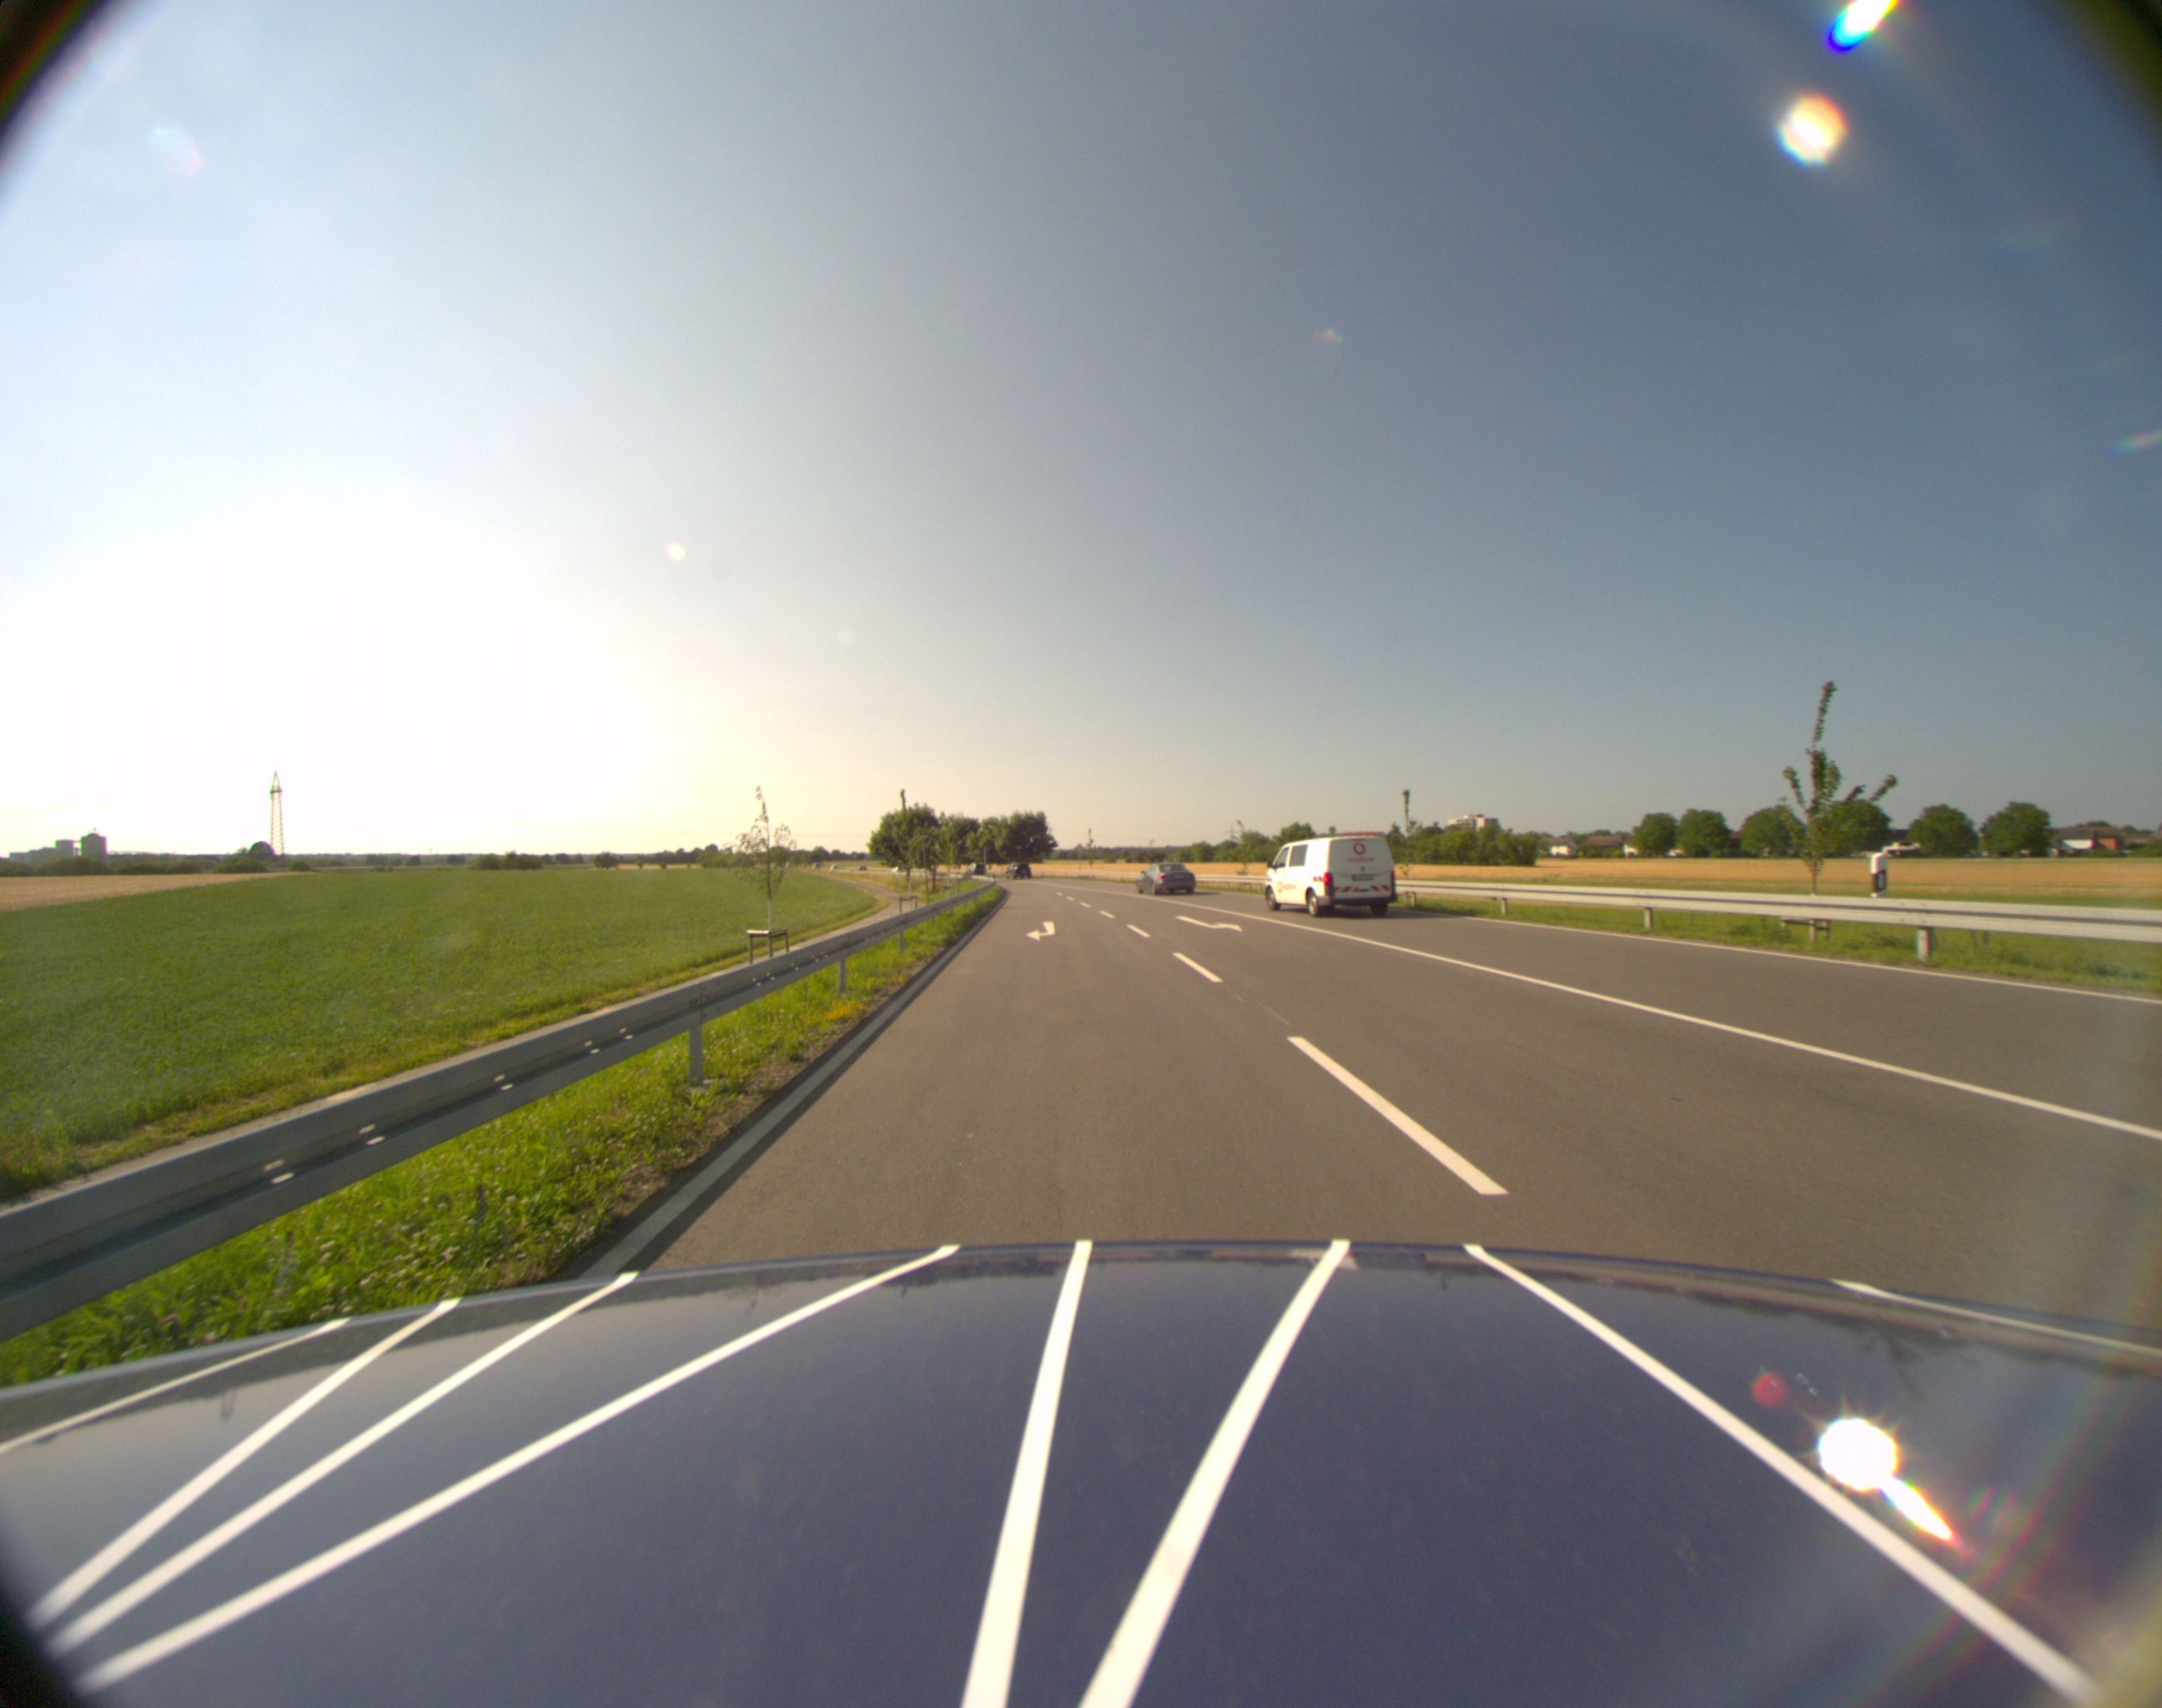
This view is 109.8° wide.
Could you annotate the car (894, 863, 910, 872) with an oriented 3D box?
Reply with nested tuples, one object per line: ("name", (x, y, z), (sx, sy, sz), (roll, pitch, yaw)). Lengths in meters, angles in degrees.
("car", (-32.109, 2.383, 136.081), (1.861, 1.440, 4.145), (-3, 1, -27))

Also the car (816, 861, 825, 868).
("car", (-79.595, 3.129, 232.211), (1.920, 2.002, 4.772), (-3, 2, -25))

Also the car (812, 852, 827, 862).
("car", (-59.230, 0.595, 172.101), (2.820, 2.002, 6.091), (-3, 1, -21))

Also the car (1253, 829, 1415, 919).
("car", (6.478, 0.558, 20.268), (2.121, 2.001, 5.153), (-3, -2, -5))

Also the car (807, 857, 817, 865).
("car", (-68.446, 1.836, 193.433), (1.792, 2.002, 3.991), (-3, 2, -27))

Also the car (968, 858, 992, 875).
("car", (-12.715, 1.561, 95.462), (1.890, 1.788, 5.082), (-3, 2, -19))

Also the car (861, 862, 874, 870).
("car", (-47.004, 2.555, 166.952), (1.846, 1.535, 4.234), (-4, 3, -28))

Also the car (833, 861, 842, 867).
("car", (-65.436, 2.710, 203.905), (1.759, 1.421, 3.838), (-3, 0, -26))

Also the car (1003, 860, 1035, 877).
("car", (-6.446, 1.454, 78.413), (2.002, 1.583, 4.854), (-2, 0, -21))

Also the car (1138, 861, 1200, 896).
("car", (4.043, 1.073, 35.689), (1.800, 1.440, 4.703), (-3, 0, -6))
